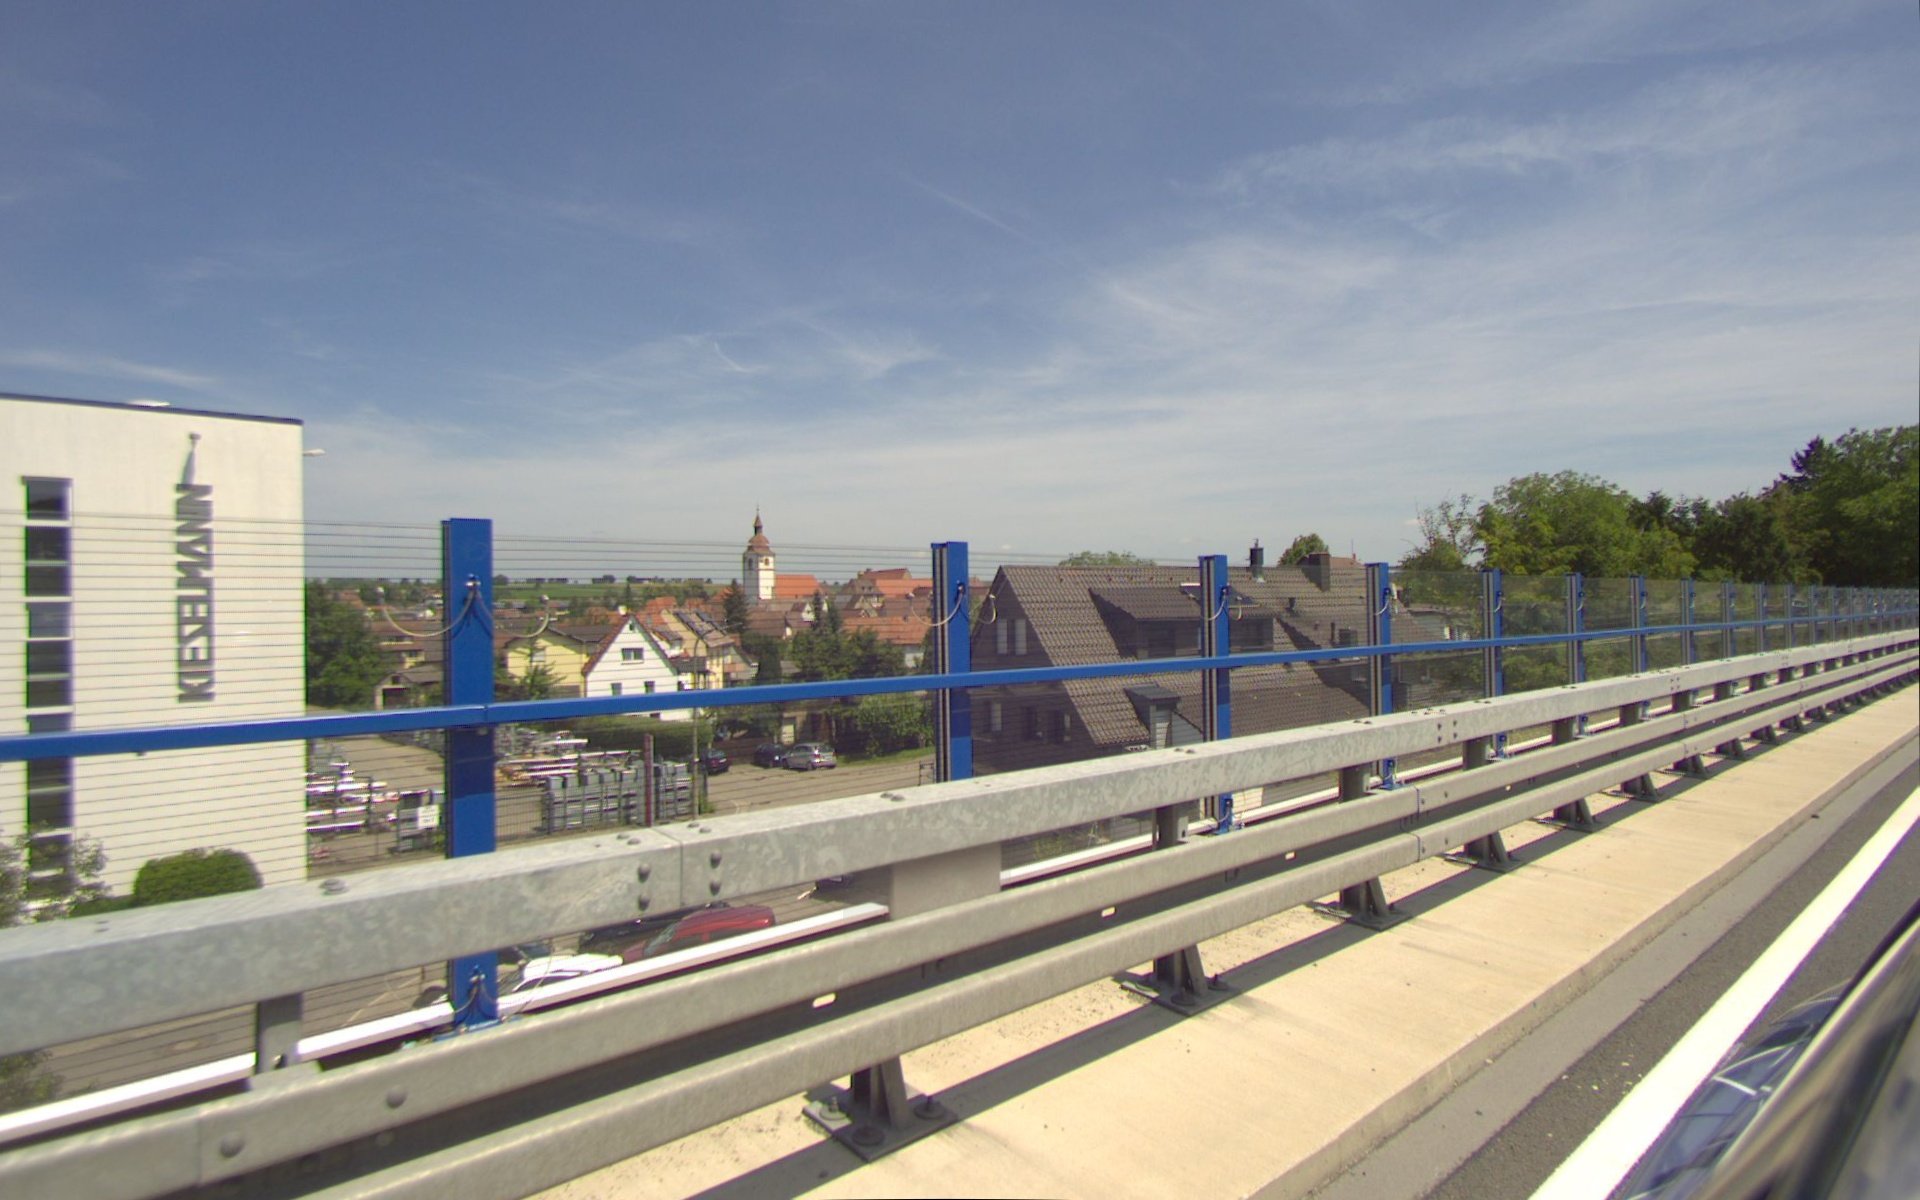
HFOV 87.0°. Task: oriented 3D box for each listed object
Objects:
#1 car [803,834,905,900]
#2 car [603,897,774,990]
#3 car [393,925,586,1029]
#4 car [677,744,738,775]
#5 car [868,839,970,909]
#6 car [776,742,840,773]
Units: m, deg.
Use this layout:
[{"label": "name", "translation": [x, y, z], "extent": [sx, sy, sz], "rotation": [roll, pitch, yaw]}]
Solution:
[{"label": "car", "translation": [-3.548, 9.047, 34.514], "extent": [1.708, 1.385, 3.967], "rotation": [-7, -5, 23]}, {"label": "car", "translation": [-6.780, 8.632, 25.585], "extent": [3.919, 1.385, 1.728], "rotation": [-5, -5, -9]}, {"label": "car", "translation": [-11.290, 9.073, 24.533], "extent": [3.917, 1.385, 1.729], "rotation": [-4, -5, -14]}, {"label": "car", "translation": [-15.701, 9.904, 62.861], "extent": [1.794, 1.589, 3.986], "rotation": [-1, -7, -45]}, {"label": "car", "translation": [-1.251, 8.823, 32.829], "extent": [1.708, 1.385, 3.967], "rotation": [-7, -5, 23]}, {"label": "car", "translation": [-9.301, 9.604, 61.788], "extent": [1.794, 1.589, 3.986], "rotation": [-1, -7, -45]}]
